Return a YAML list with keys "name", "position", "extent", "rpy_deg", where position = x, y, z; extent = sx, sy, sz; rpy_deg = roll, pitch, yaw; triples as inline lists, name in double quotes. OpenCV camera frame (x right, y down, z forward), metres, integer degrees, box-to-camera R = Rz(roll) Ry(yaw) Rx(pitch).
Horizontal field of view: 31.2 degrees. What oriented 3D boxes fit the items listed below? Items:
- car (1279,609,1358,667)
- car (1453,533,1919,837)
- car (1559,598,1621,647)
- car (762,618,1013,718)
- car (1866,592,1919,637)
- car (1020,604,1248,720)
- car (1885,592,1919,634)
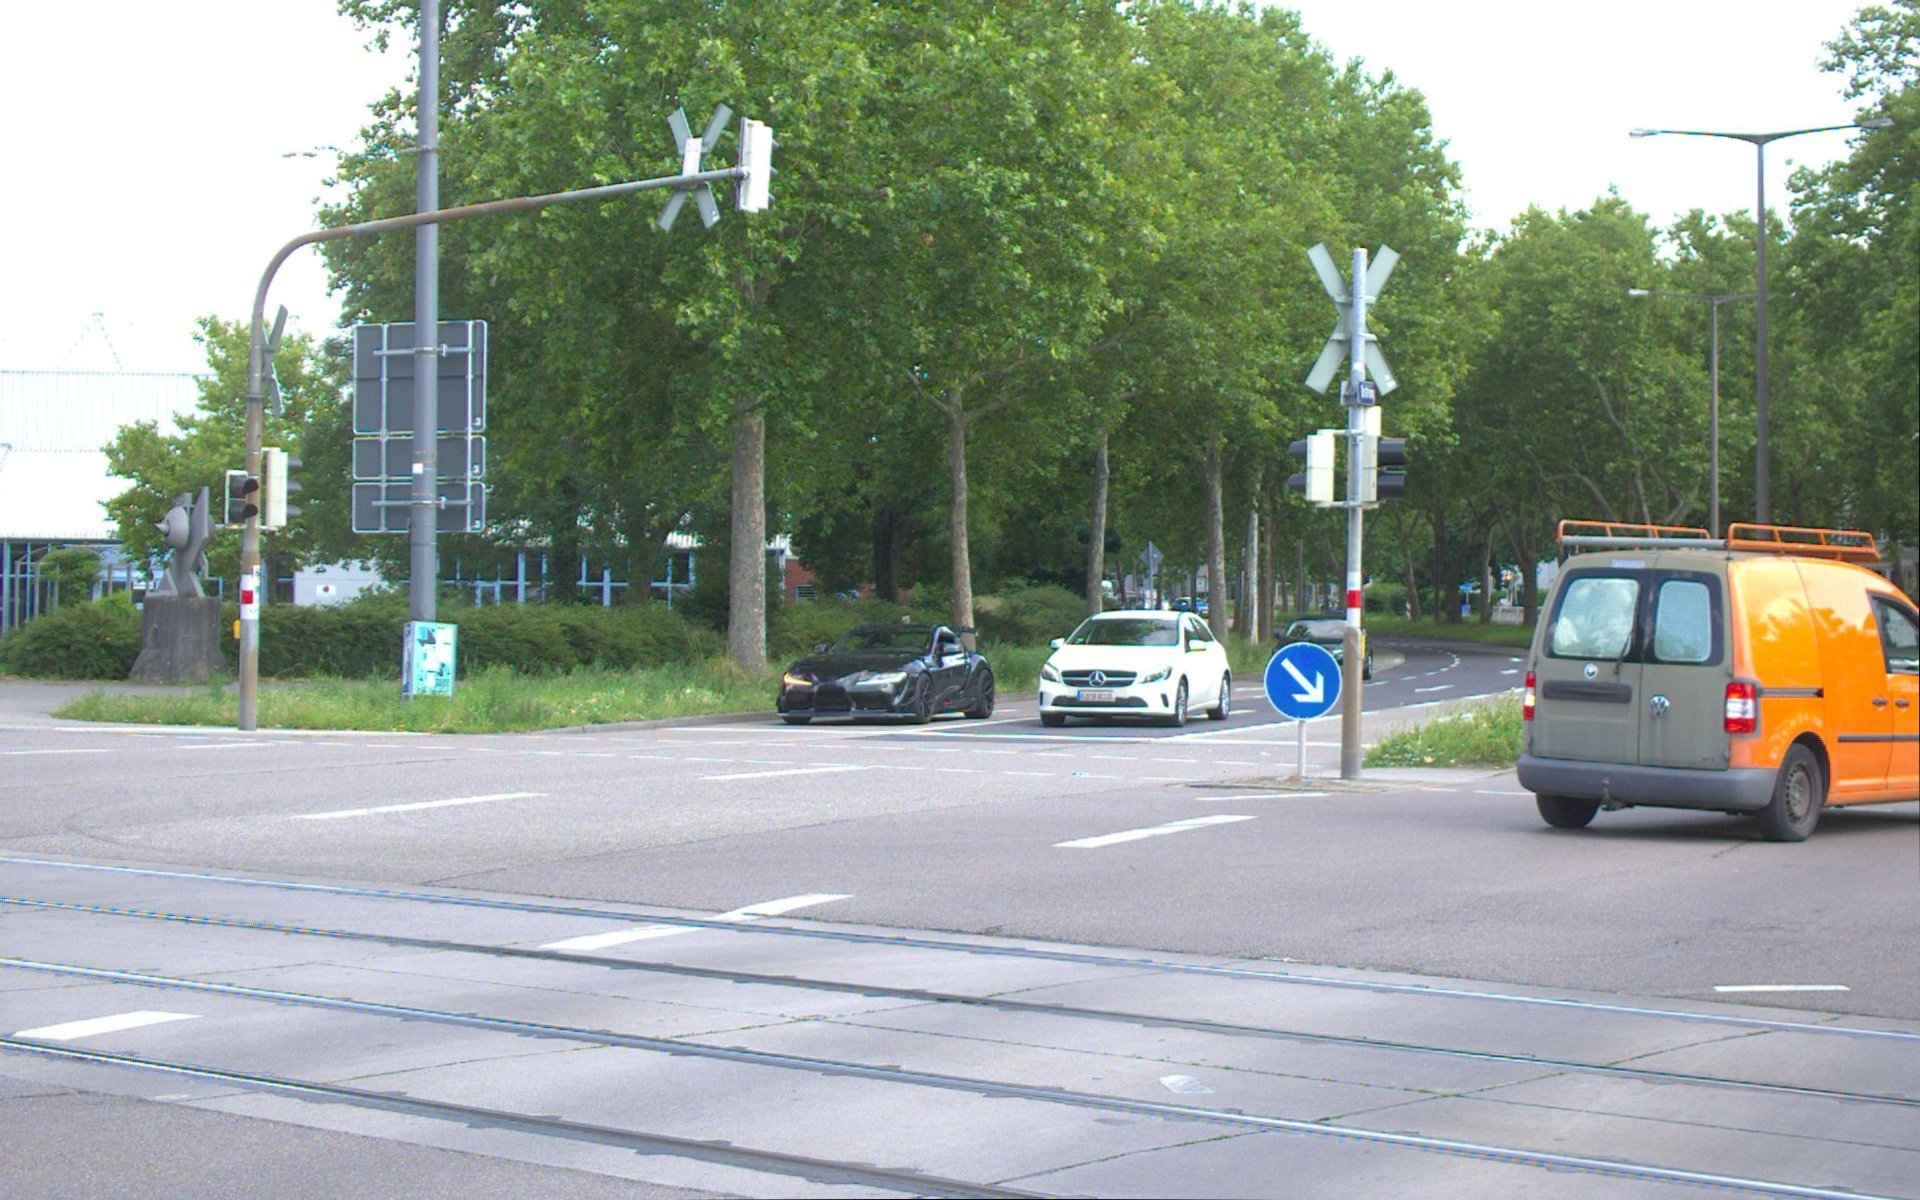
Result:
- name: "car"
  position: [7.840, 0.817, 75.009]
  extent: [1.635, 1.187, 3.707]
  rpy_deg: [1, 0, 7]
- name: "car"
  position: [5.287, 0.509, 22.572]
  extent: [1.883, 1.794, 4.359]
  rpy_deg: [1, 0, 43]
- name: "car"
  position: [18.200, 0.638, 99.468]
  extent: [1.657, 1.267, 3.770]
  rpy_deg: [0, 2, 9]
- name: "car"
  position: [-0.880, 0.838, 43.991]
  extent: [1.637, 1.187, 3.703]
  rpy_deg: [1, 0, 27]
- name: "car"
  position: [35.889, 0.551, 131.502]
  extent: [1.994, 1.568, 3.999]
  rpy_deg: [0, 2, 9]
- name: "car"
  position: [2.258, 0.746, 43.519]
  extent: [1.827, 1.360, 4.134]
  rpy_deg: [1, 0, 18]
- name: "car"
  position: [39.473, 0.512, 142.041]
  extent: [1.994, 1.568, 3.999]
  rpy_deg: [0, 2, 9]
